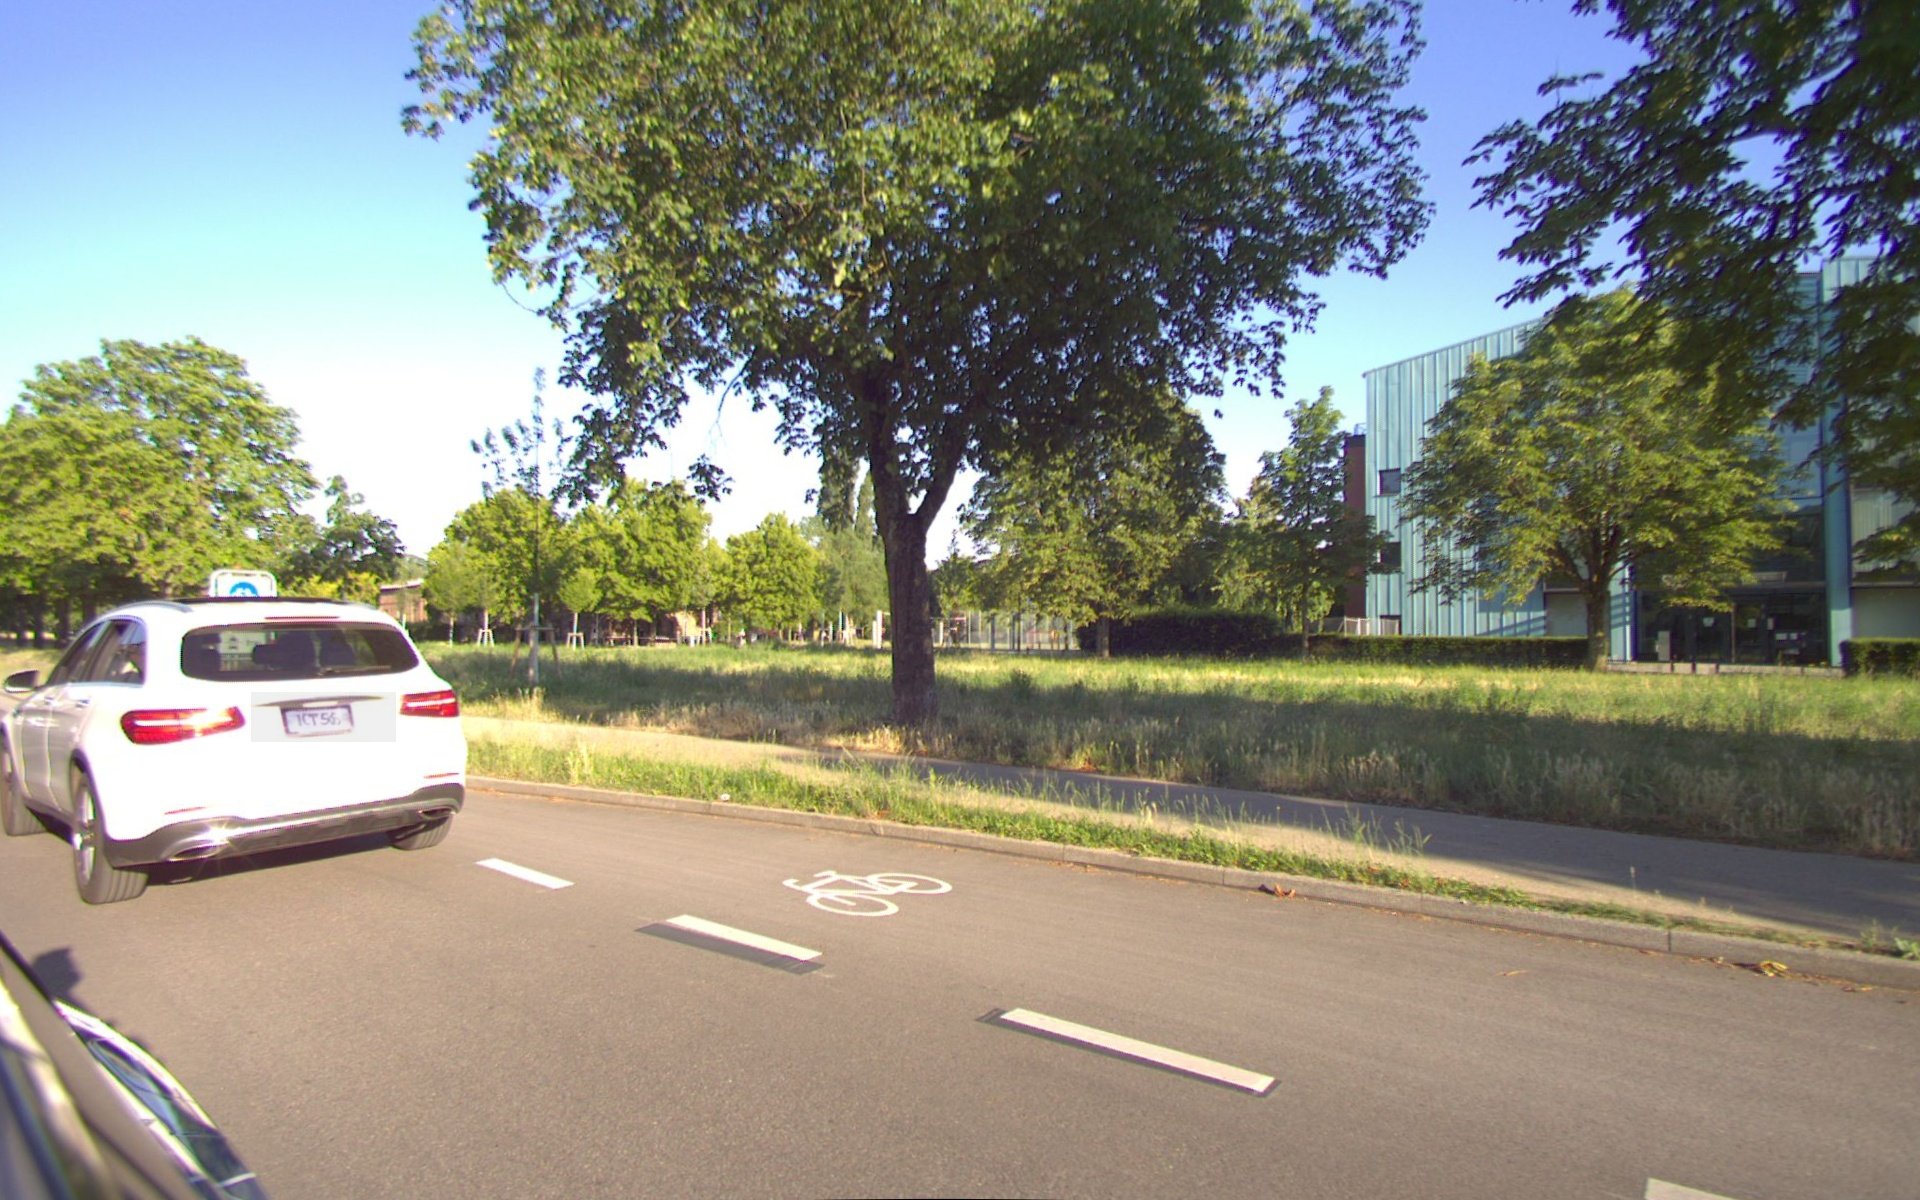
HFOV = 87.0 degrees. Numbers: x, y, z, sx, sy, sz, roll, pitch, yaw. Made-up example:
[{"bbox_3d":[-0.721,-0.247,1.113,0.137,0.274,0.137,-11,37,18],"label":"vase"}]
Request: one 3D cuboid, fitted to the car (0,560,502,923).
[{"bbox_3d":[-5.072,0.712,6.869,4.421,1.689,1.872,-2,-1,40],"label":"car"}]
